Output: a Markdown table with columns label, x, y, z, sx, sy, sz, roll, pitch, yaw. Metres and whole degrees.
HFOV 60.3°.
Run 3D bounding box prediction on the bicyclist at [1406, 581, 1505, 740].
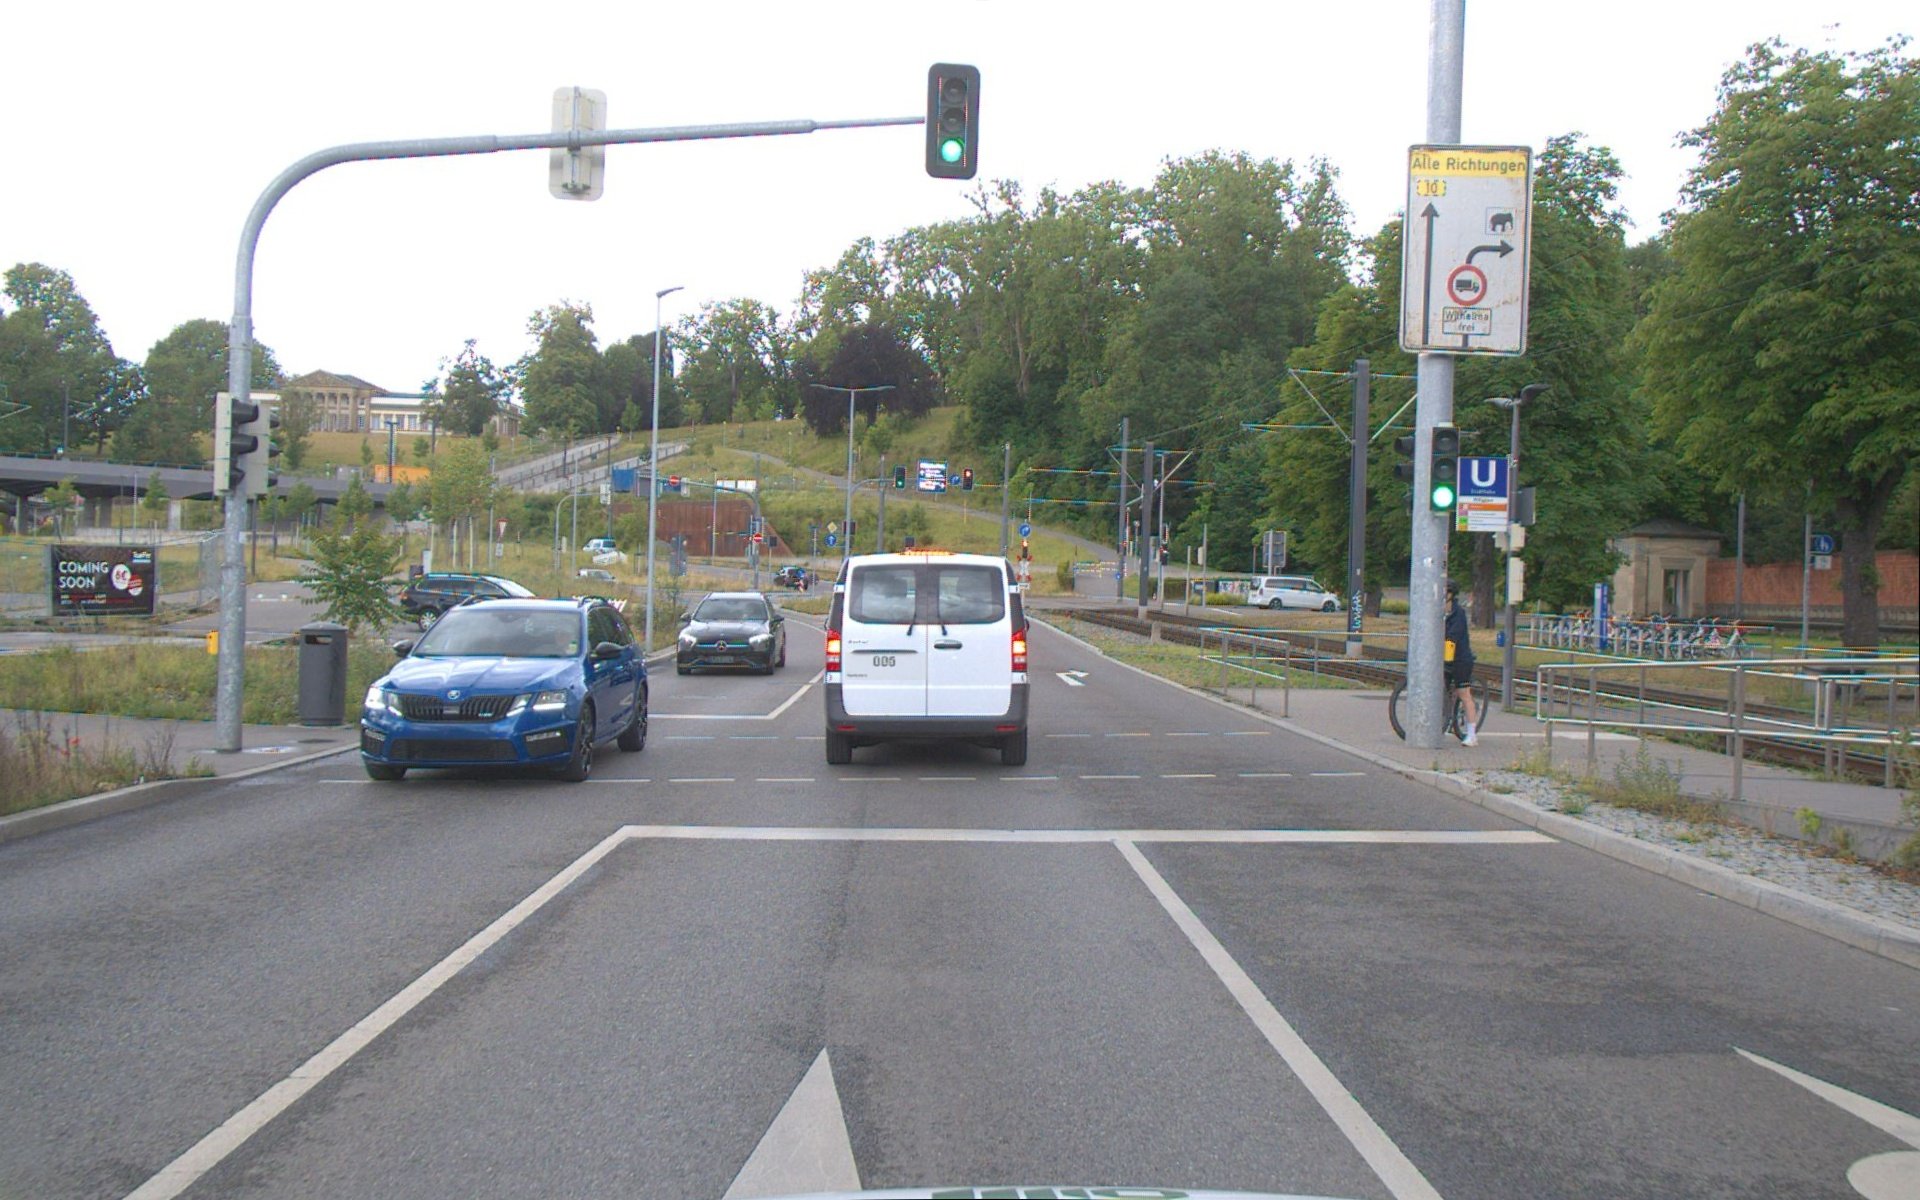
| label | x | y | z | sx | sy | sz | roll | pitch | yaw |
| --- | --- | --- | --- | --- | --- | --- | --- | --- | --- |
| bicyclist | 5.188 | 0.618 | 17.324 | 0.799 | 1.599 | 0.609 | 1 | 2 | -41 |

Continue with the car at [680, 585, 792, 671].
| label | x | y | z | sx | sy | sz | roll | pitch | yaw |
| --- | --- | --- | --- | --- | --- | --- | --- | --- | --- |
| car | -4.292 | 0.509 | 32.239 | 1.695 | 1.555 | 4.443 | 0 | 0 | -2 |

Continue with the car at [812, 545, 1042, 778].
| label | x | y | z | sx | sy | sz | roll | pitch | yaw |
| --- | --- | --- | --- | --- | --- | --- | --- | --- | --- |
| car | -0.204 | 0.490 | 16.200 | 1.918 | 1.937 | 4.463 | -1 | 1 | 2 |

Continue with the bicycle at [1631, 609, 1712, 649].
| label | x | y | z | sx | sy | sz | roll | pitch | yaw |
| --- | --- | --- | --- | --- | --- | --- | --- | --- | --- |
| bicycle | 18.426 | 0.749 | 42.852 | 1.873 | 0.992 | 0.531 | 1 | 1 | -1 |

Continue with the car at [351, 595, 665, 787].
| label | x | y | z | sx | sy | sz | roll | pitch | yaw |
| --- | --- | --- | --- | --- | --- | --- | --- | --- | --- |
| car | -3.804 | 0.688 | 14.717 | 1.695 | 1.446 | 4.443 | 0 | 0 | -2 |

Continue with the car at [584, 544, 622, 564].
| label | x | y | z | sx | sy | sz | roll | pitch | yaw |
| --- | --- | --- | --- | --- | --- | --- | --- | --- | --- |
| car | -31.948 | -4.086 | 147.905 | 1.920 | 1.655 | 3.954 | 2 | 1 | -34 |

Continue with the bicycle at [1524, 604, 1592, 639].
| label | x | y | z | sx | sy | sz | roll | pitch | yaw |
| --- | --- | --- | --- | --- | --- | --- | --- | --- | --- |
| bicycle | 18.086 | 0.645 | 50.053 | 1.873 | 0.992 | 0.531 | 1 | 1 | -1 |

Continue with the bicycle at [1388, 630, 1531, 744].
| label | x | y | z | sx | sy | sz | roll | pitch | yaw |
| --- | --- | --- | --- | --- | --- | --- | --- | --- | --- |
| bicycle | 5.268 | 0.892 | 17.404 | 1.669 | 1.092 | 0.611 | 0 | 2 | -41 |

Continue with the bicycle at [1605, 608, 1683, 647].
| label | x | y | z | sx | sy | sz | roll | pitch | yaw |
| --- | --- | --- | --- | --- | --- | --- | --- | --- | --- |
| bicycle | 18.348 | 0.730 | 44.373 | 1.873 | 0.992 | 0.531 | 1 | 1 | -1 |

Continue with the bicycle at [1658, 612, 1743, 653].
| label | x | y | z | sx | sy | sz | roll | pitch | yaw |
| --- | --- | --- | --- | --- | --- | --- | --- | --- | --- |
| bicycle | 18.473 | 0.810 | 41.267 | 1.873 | 0.992 | 0.531 | 1 | 1 | -1 |

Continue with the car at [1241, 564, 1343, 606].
| label | x | y | z | sx | sy | sz | roll | pitch | yaw |
| --- | --- | --- | --- | --- | --- | --- | --- | --- | --- |
| car | 18.393 | -0.815 | 91.651 | 5.041 | 2.048 | 2.203 | 3 | 0 | -11 |

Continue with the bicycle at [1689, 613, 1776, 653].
| label | x | y | z | sx | sy | sz | roll | pitch | yaw |
| --- | --- | --- | --- | --- | --- | --- | --- | --- | --- |
| bicycle | 18.748 | 0.793 | 40.159 | 1.873 | 0.911 | 0.531 | 1 | 1 | -1 |

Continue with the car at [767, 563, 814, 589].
| label | x | y | z | sx | sy | sz | roll | pitch | yaw |
| --- | --- | --- | --- | --- | --- | --- | --- | --- | --- |
| car | -11.652 | -1.649 | 113.278 | 1.913 | 1.655 | 3.967 | 2 | 1 | -26 |

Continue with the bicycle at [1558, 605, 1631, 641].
| label | x | y | z | sx | sy | sz | roll | pitch | yaw |
| --- | --- | --- | --- | --- | --- | --- | --- | --- | --- |
| bicycle | 18.188 | 0.649 | 47.421 | 1.873 | 0.992 | 0.531 | 1 | 1 | -1 |

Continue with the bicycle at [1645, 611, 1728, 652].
| label | x | y | z | sx | sy | sz | roll | pitch | yaw |
| --- | --- | --- | --- | --- | --- | --- | --- | --- | --- |
| bicycle | 18.411 | 0.803 | 41.912 | 1.873 | 0.992 | 0.531 | 1 | 1 | -1 |

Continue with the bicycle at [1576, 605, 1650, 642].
| label | x | y | z | sx | sy | sz | roll | pitch | yaw |
| --- | --- | --- | --- | --- | --- | --- | --- | --- | --- |
| bicycle | 18.393 | 0.656 | 46.611 | 1.873 | 0.992 | 0.531 | 1 | 1 | -1 |

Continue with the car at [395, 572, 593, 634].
| label | x | y | z | sx | sy | sz | roll | pitch | yaw |
| --- | --- | --- | --- | --- | --- | --- | --- | --- | --- |
| car | -12.284 | 0.054 | 43.696 | 4.609 | 1.503 | 2.002 | 1 | 2 | 9 |

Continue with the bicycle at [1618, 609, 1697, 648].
| label | x | y | z | sx | sy | sz | roll | pitch | yaw |
| --- | --- | --- | --- | --- | --- | --- | --- | --- | --- |
| bicycle | 18.378 | 0.746 | 43.592 | 1.873 | 0.992 | 0.531 | 1 | 1 | -1 |

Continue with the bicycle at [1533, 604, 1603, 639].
| label | x | y | z | sx | sy | sz | roll | pitch | yaw |
| --- | --- | --- | --- | --- | --- | --- | --- | --- | --- |
| bicycle | 18.062 | 0.646 | 49.127 | 1.873 | 0.992 | 0.531 | 1 | 1 | -1 |

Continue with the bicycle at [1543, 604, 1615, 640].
| label | x | y | z | sx | sy | sz | roll | pitch | yaw |
| --- | --- | --- | --- | --- | --- | --- | --- | --- | --- |
| bicycle | 18.006 | 0.646 | 48.144 | 1.873 | 0.992 | 0.531 | 1 | 1 | -1 |
